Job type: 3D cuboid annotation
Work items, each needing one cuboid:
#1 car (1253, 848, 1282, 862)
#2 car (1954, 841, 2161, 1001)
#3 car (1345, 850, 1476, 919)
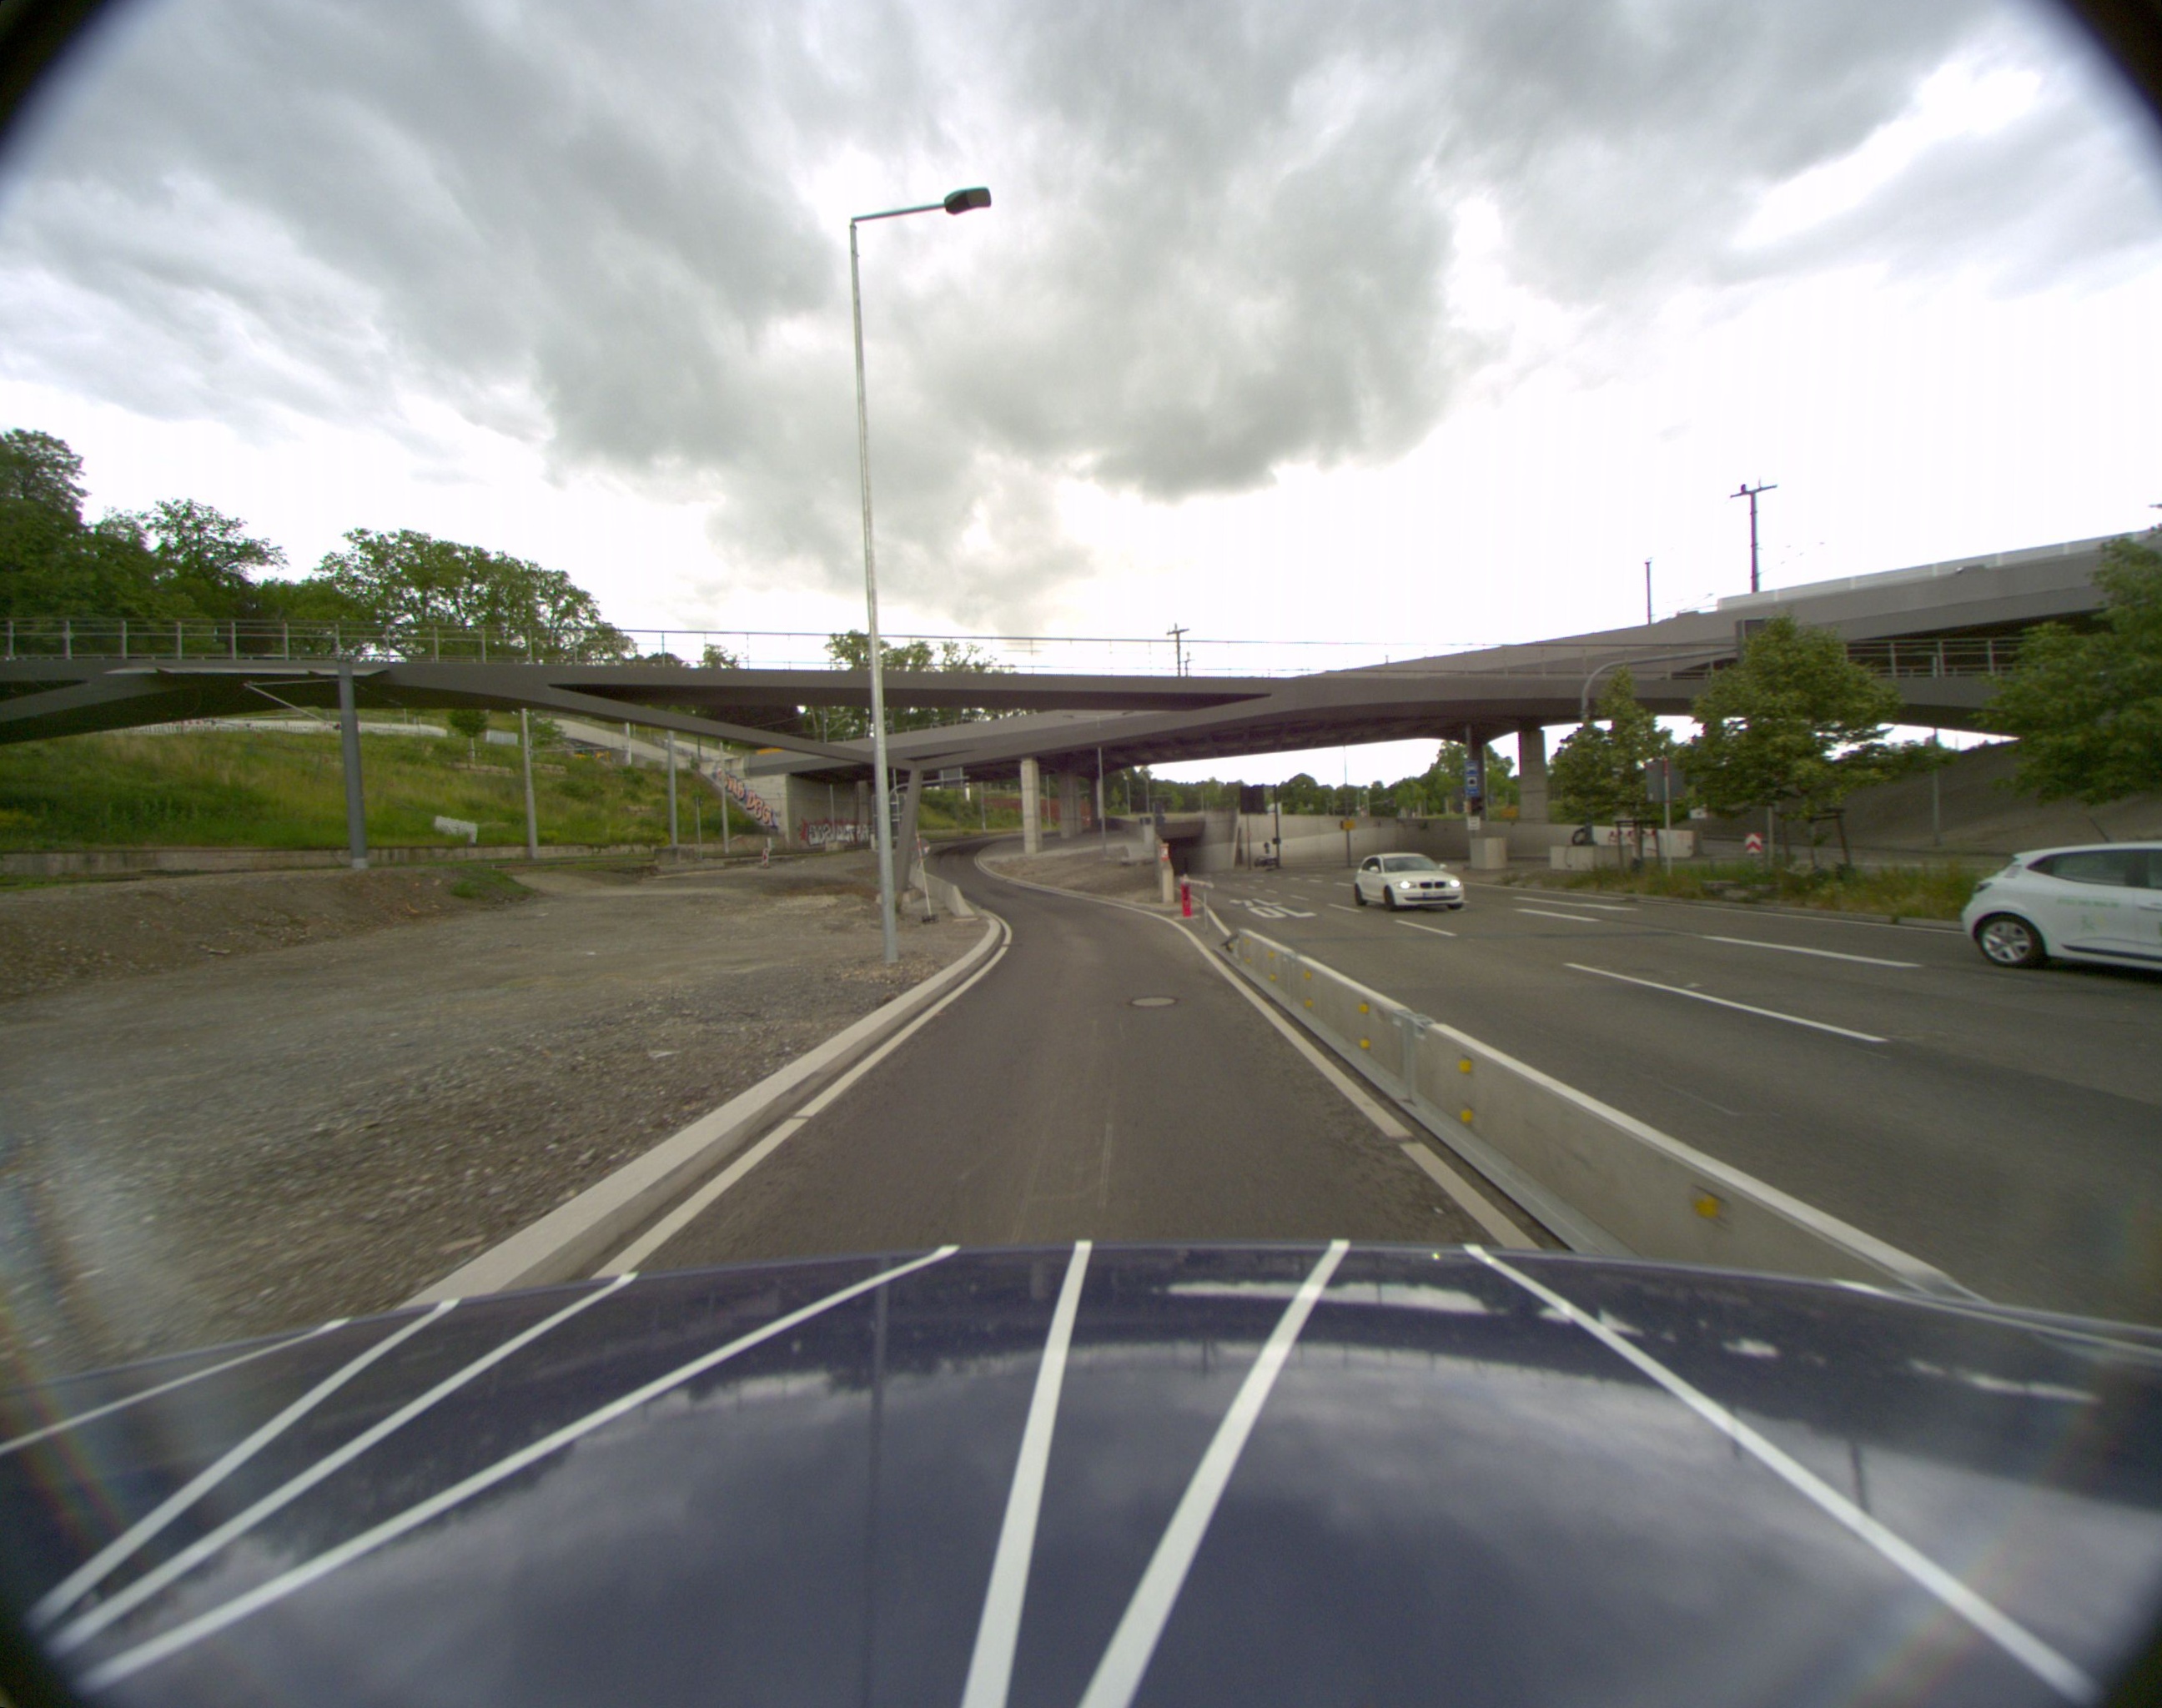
[{"bbox_3d":[20.891,0.069,85.290,1.794,1.469,4.614,-3,0,-3],"label":"car"},{"bbox_3d":[11.059,0.638,6.981,1.579,1.475,3.998,-2,0,3],"label":"car"},{"bbox_3d":[8.338,0.688,19.609,1.642,1.425,3.981,-4,1,1],"label":"car"}]
